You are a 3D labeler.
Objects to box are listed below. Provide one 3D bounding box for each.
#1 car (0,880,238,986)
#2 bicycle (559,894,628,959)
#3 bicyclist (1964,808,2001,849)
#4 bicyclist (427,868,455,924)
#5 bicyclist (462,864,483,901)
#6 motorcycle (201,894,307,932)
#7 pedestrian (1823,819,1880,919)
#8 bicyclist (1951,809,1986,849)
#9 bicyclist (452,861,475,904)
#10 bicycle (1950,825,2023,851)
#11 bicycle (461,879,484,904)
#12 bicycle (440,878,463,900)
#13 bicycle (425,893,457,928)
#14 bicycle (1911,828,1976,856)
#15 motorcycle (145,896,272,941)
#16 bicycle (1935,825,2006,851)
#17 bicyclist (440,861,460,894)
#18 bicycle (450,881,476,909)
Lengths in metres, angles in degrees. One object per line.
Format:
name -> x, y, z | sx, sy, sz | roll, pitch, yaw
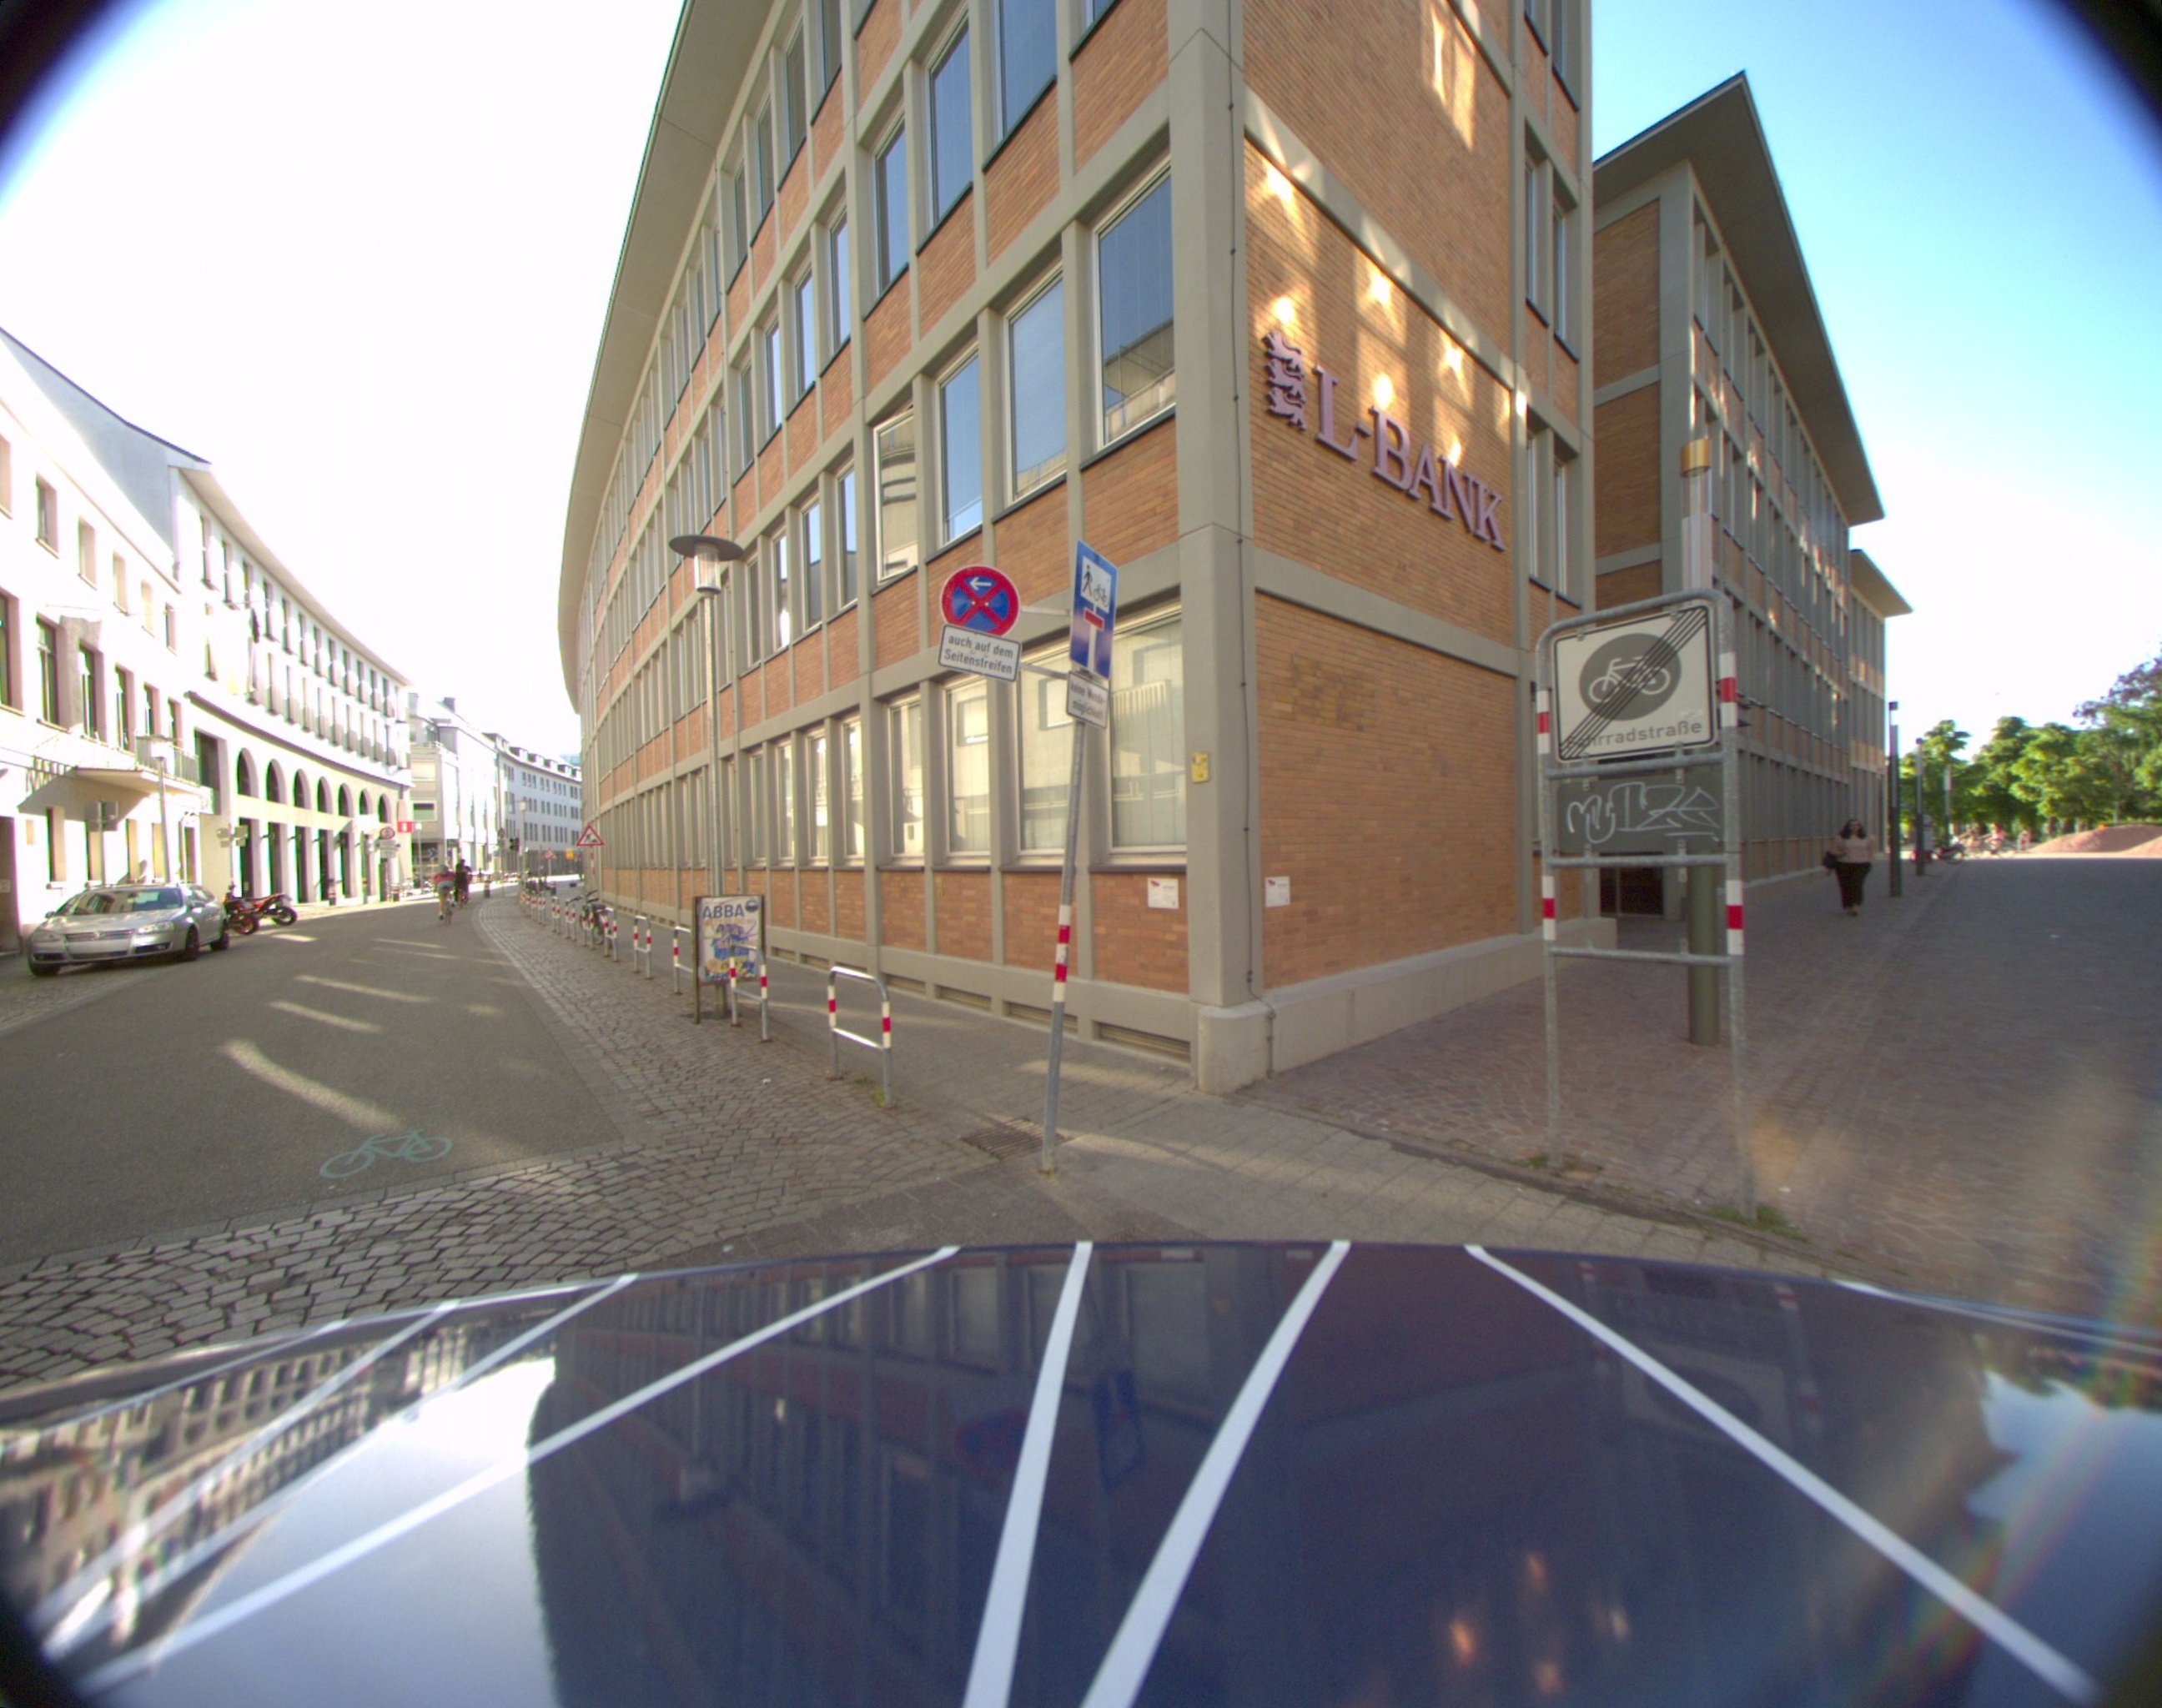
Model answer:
car -> -17.385, 1.313, 13.990 | 1.851, 1.453, 3.988 | -4, 2, -40
bicycle -> -9.129, 1.320, 14.199 | 1.817, 1.048, 0.629 | -1, 2, 43
bicyclist -> 45.118, -1.266, 38.028 | 1.005, 2.002, 1.093 | -3, 2, -36
bicyclist -> -17.747, 1.159, 21.081 | 0.474, 1.495, 0.793 | -3, 2, -37
bicyclist -> -25.711, 1.187, 32.105 | 0.578, 1.525, 0.814 | -3, 2, -34
motorcycle -> -24.466, 1.721, 22.526 | 2.002, 0.950, 0.644 | -2, 1, -26
pedestrian -> 14.110, 0.260, 13.915 | 0.699, 1.769, 0.691 | -3, 2, -41
bicyclist -> 45.637, -1.297, 39.063 | 1.005, 2.002, 1.093 | -3, 2, -36
bicyclist -> -23.555, 1.077, 28.996 | 0.582, 1.566, 0.690 | -3, 1, -35
bicycle -> 45.244, -0.786, 38.000 | 0.781, 1.265, 2.327 | -3, 1, -38
bicycle -> -25.743, 1.592, 32.178 | 0.578, 0.955, 1.715 | -3, 1, -34
bicycle -> -29.972, 1.652, 36.176 | 0.624, 0.955, 1.715 | -3, 1, -34
bicycle -> -17.672, 1.546, 21.000 | 0.525, 0.843, 1.486 | -3, 1, -35
bicycle -> 40.422, -0.567, 35.619 | 2.071, 1.253, 0.724 | -2, 1, 7
motorcycle -> -22.172, 1.615, 19.366 | 2.002, 0.950, 0.644 | -2, 1, -26
bicycle -> 45.659, -0.814, 39.023 | 0.781, 1.265, 2.327 | -3, 1, -38
bicyclist -> -29.974, 1.110, 36.099 | 0.582, 1.566, 0.690 | -3, 1, -33
bicycle -> -23.342, 1.533, 28.711 | 0.578, 0.955, 1.715 | -3, 1, -34
